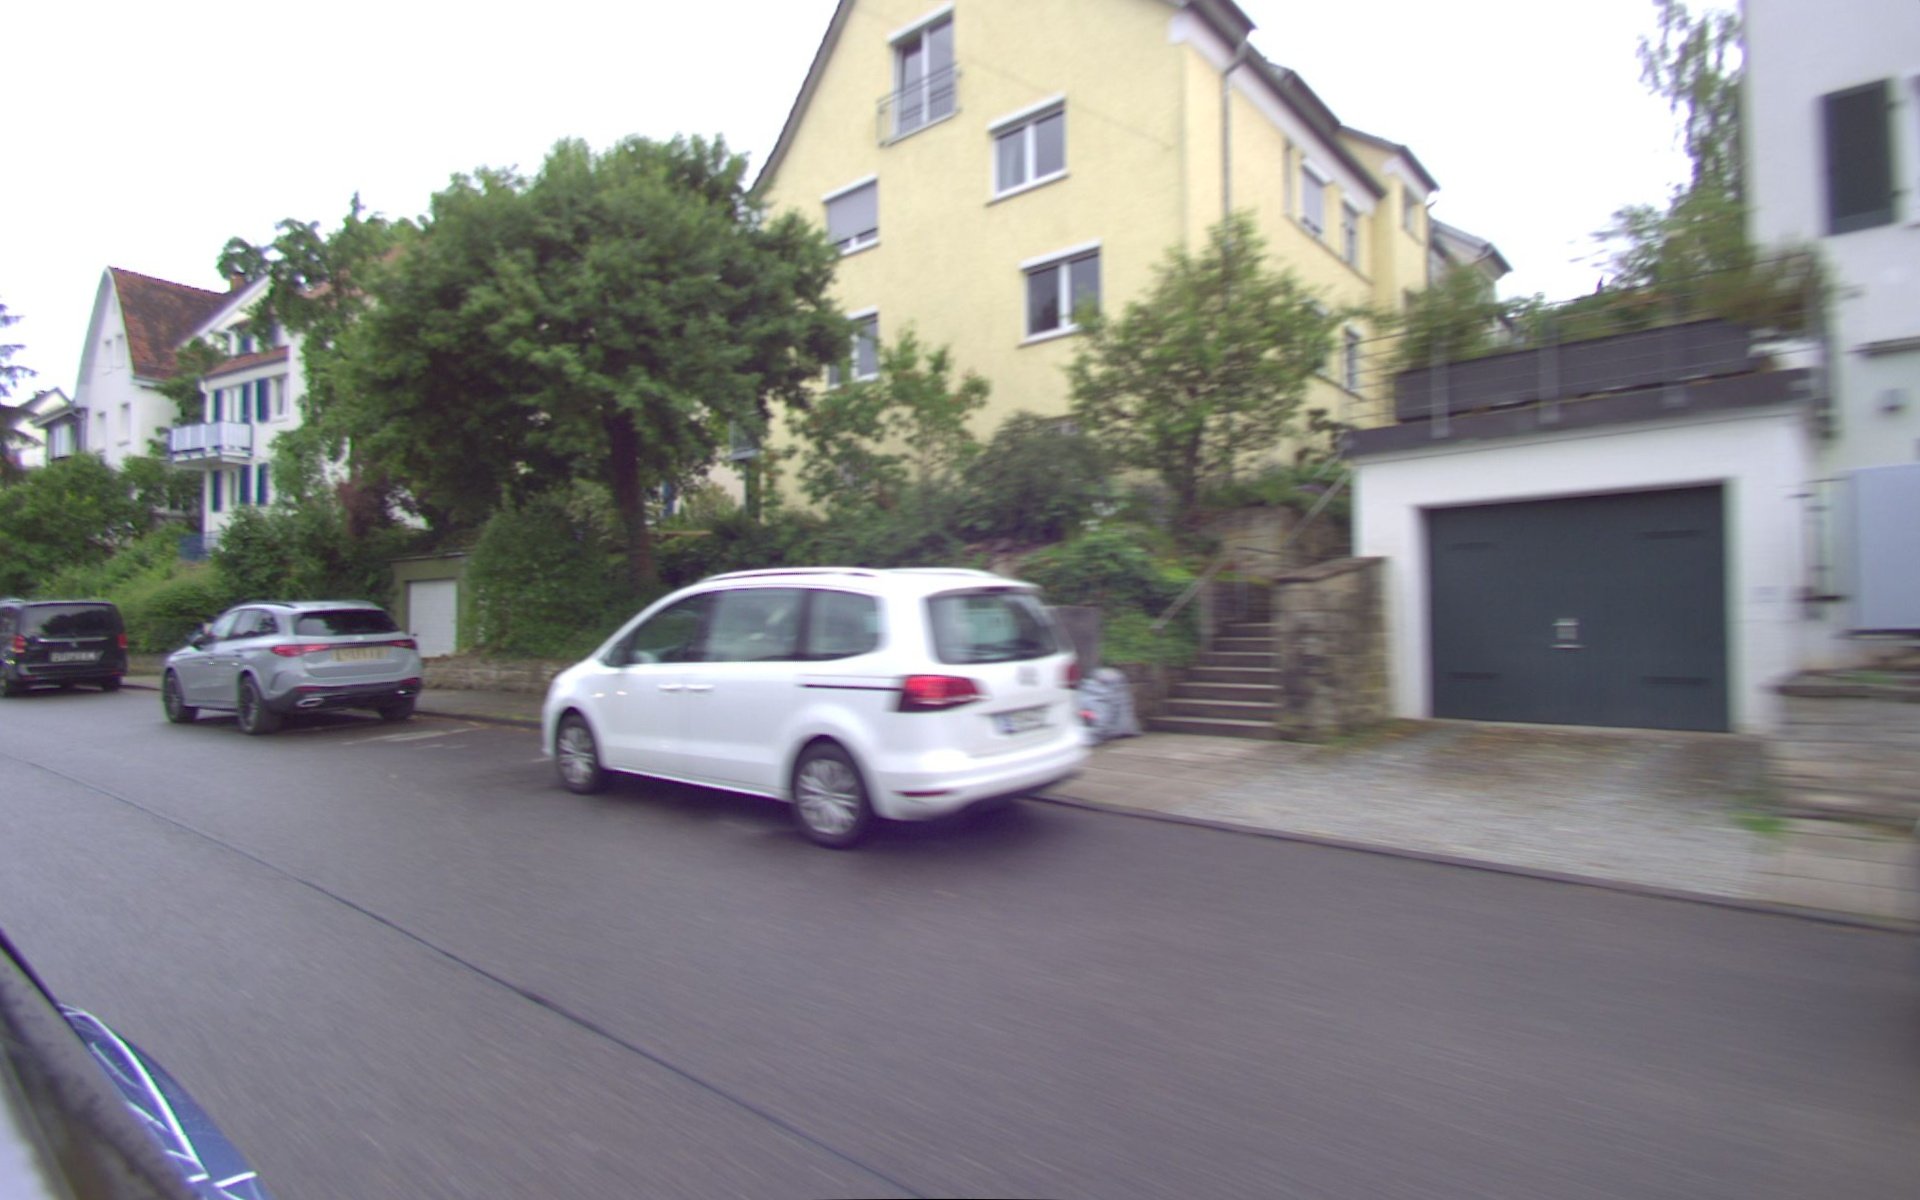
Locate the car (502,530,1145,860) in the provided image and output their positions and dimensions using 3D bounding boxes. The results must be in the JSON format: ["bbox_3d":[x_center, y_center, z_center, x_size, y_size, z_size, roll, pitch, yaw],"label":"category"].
[{"bbox_3d":[-1.240,0.519,7.520,4.733,1.715,1.974,-2,1,39],"label":"car"}]

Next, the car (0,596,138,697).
[{"bbox_3d":[-19.657,0.958,21.551,5.345,1.892,1.976,-2,0,36],"label":"car"}]

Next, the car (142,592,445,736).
[{"bbox_3d":[-9.295,0.811,13.967,4.753,1.592,1.975,-2,1,37],"label":"car"}]

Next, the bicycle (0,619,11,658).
[{"bbox_3d":[-33.491,1.366,34.628,2.285,1.311,0.995,-4,-3,34],"label":"bicycle"}]

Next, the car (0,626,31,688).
[{"bbox_3d":[-24.652,1.417,25.058,3.805,1.458,1.680,-2,-1,35],"label":"car"}]
